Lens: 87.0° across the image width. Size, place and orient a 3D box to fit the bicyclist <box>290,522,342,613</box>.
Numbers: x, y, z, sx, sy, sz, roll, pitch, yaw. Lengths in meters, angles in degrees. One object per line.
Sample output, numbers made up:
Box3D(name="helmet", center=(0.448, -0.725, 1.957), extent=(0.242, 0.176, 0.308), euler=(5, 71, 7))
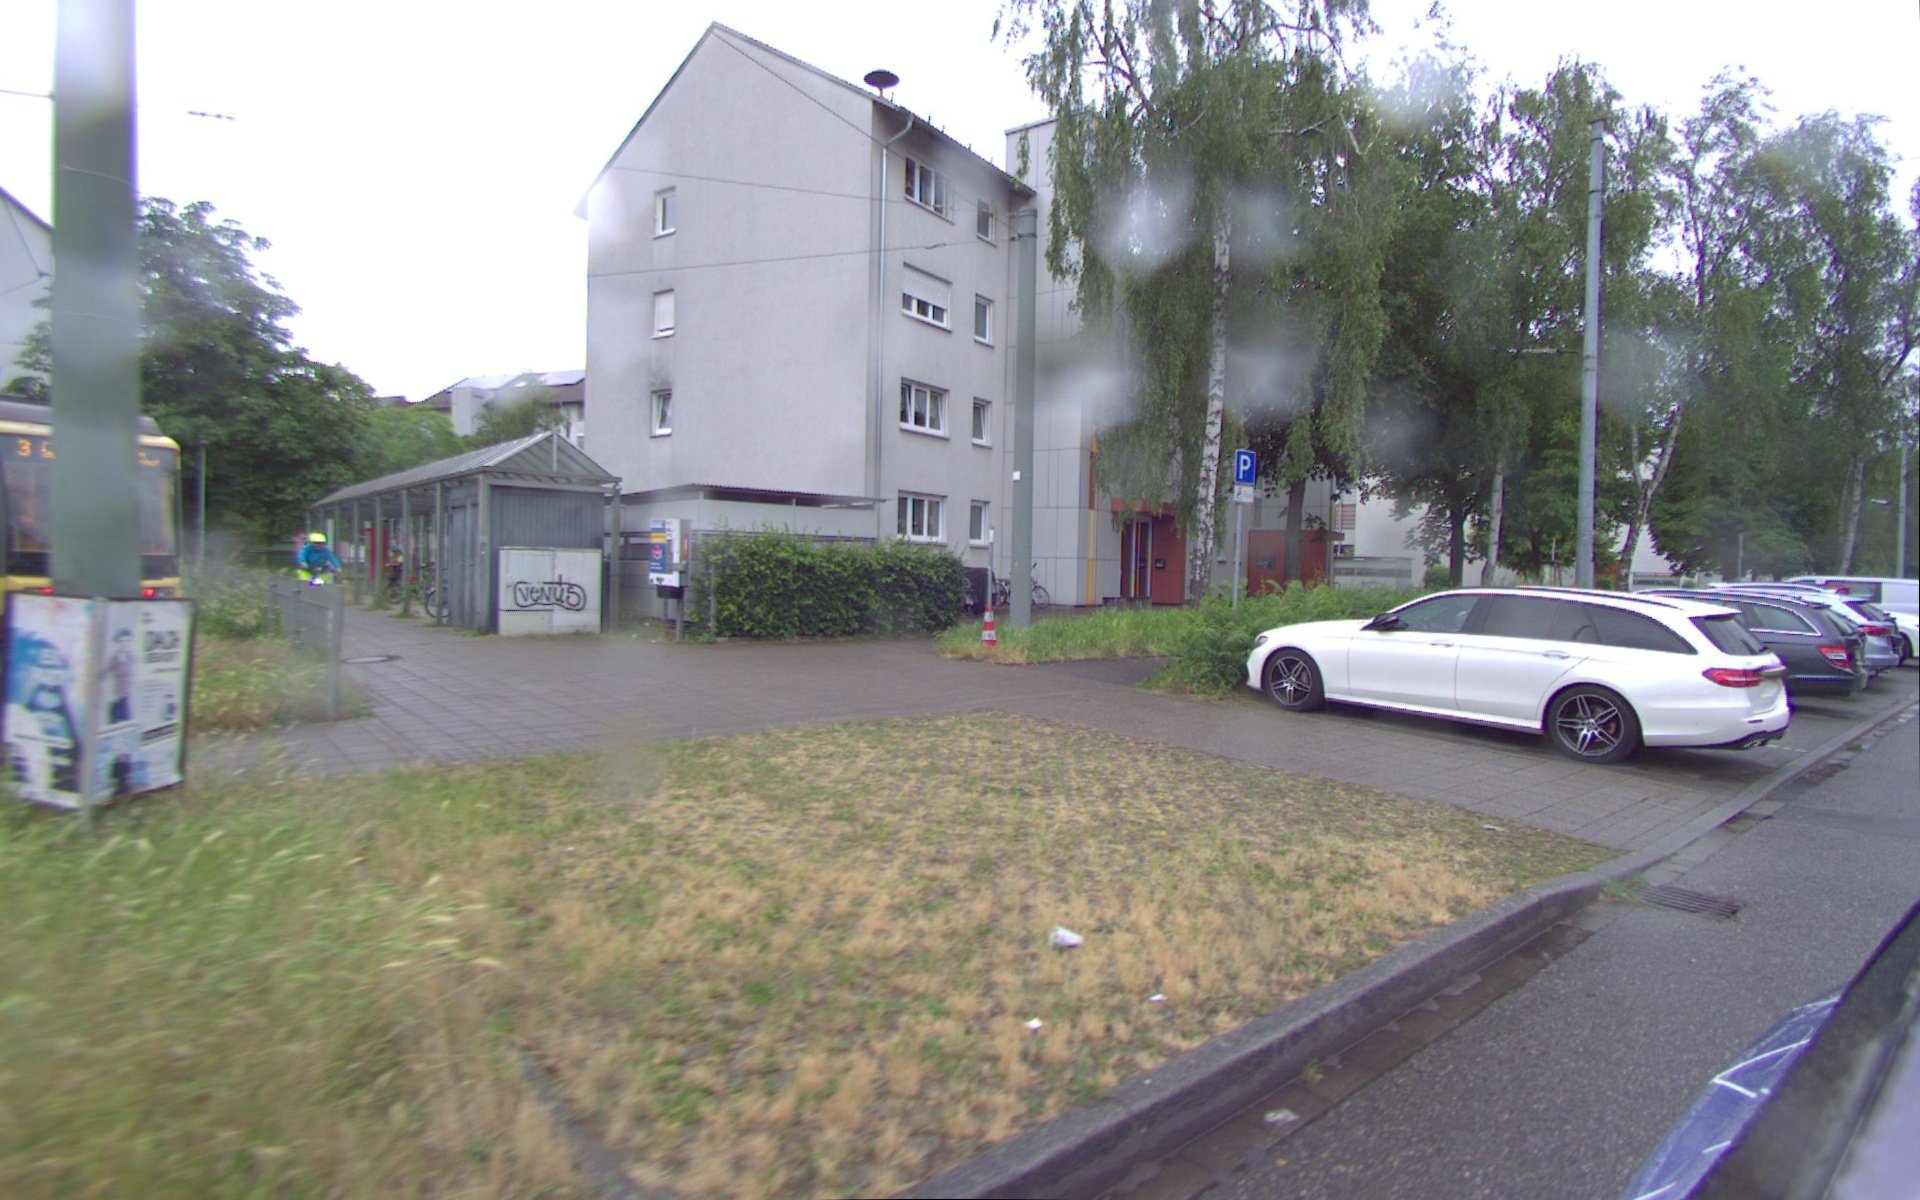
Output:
Box3D(name="bicyclist", center=(-11.185, -0.556, 17.579), extent=(0.711, 1.535, 0.699), euler=(1, 0, -35))

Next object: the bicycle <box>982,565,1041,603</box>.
Box3D(name="bicycle", center=(1.325, -0.428, 26.288), extent=(1.467, 0.963, 0.526), euler=(2, 1, 36))

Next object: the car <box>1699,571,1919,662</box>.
Box3D(name="car", center=(19.225, 0.320, 22.347), extent=(1.692, 1.869, 4.440), euler=(0, 0, -39))

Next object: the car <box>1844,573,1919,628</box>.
Box3D(name="car", center=(35.518, 0.020, 37.063), extent=(1.866, 1.967, 4.541), euler=(0, 1, -42))

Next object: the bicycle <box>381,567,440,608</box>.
Box3D(name="bicycle", center=(-13.276, -0.300, 24.458), extent=(1.215, 0.959, 0.377), euler=(-1, 0, -38))

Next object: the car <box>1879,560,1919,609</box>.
Box3D(name="car", center=(42.547, -0.664, 43.507), extent=(1.694, 2.088, 4.434), euler=(0, 0, -44))

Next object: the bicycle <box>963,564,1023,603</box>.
Box3D(name="bicycle", center=(0.823, -0.424, 25.665), extent=(1.467, 0.963, 0.526), euler=(2, 1, 36))

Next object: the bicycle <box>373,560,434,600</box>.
Box3D(name="bicycle", center=(-13.858, -0.496, 25.222), extent=(0.414, 0.959, 1.292), euler=(0, 0, 33))

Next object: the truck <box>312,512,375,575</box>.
Box3D(name="truck", center=(-37.793, -3.362, 62.140), extent=(3.139, 3.517, 7.154), euler=(0, 0, -31))

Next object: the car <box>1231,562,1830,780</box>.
Box3D(name="car", center=(5.389, 0.474, 10.212), extent=(1.965, 1.475, 4.839), euler=(0, 4, -40))

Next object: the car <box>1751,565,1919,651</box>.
Box3D(name="car", center=(23.069, 0.177, 25.773), extent=(1.694, 2.088, 4.434), euler=(0, 0, -44))

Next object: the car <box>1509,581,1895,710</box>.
Box3D(name="car", center=(10.002, 0.511, 13.901), extent=(1.692, 1.505, 3.995), euler=(-1, 0, -39))

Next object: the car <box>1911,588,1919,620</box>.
Box3D(name="car", center=(50.856, 0.220, 50.704), extent=(1.866, 1.603, 4.541), euler=(0, 1, -42))

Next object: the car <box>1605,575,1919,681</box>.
Box3D(name="car", center=(13.651, 0.407, 17.412), extent=(1.692, 1.606, 3.995), euler=(0, 0, -39))

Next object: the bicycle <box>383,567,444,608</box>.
Box3D(name="bicycle", center=(-12.984, -0.298, 24.054), extent=(1.215, 0.959, 0.377), euler=(-1, 0, -38))

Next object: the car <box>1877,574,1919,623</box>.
Box3D(name="car", center=(39.680, -0.039, 40.296), extent=(1.866, 1.967, 4.541), euler=(0, 1, -42))

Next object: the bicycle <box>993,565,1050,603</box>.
Box3D(name="bicycle", center=(1.625, -0.438, 26.821), extent=(1.467, 0.963, 0.526), euler=(2, 1, 36))

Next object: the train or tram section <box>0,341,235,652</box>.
Box3D(name="train or tram section", center=(-16.573, -1.368, 16.966), extent=(14.647, 3.635, 2.680), euler=(2, 0, 36))

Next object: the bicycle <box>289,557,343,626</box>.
Box3D(name="bicycle", center=(-11.225, -0.152, 17.619), extent=(0.714, 1.144, 1.754), euler=(1, 1, -35))

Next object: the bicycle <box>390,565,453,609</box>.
Box3D(name="bicycle", center=(-12.149, -0.291, 22.844), extent=(1.215, 0.959, 0.377), euler=(-1, 0, -38))

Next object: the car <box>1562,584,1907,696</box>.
Box3D(name="car", center=(11.852, 0.519, 15.712), extent=(1.692, 1.505, 3.995), euler=(-1, 0, -39))

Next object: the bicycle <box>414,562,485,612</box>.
Box3D(name="bicycle", center=(-10.077, -0.255, 19.989), extent=(1.215, 0.968, 0.377), euler=(-1, 0, -38))

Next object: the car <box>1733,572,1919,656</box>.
Box3D(name="car", center=(21.128, 0.296, 23.803), extent=(1.692, 1.869, 4.440), euler=(0, 0, -39))

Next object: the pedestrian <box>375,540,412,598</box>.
Box3D(name="pedestrian", center=(-15.932, -0.861, 28.456), extent=(0.776, 1.592, 0.635), euler=(0, 0, -42))
